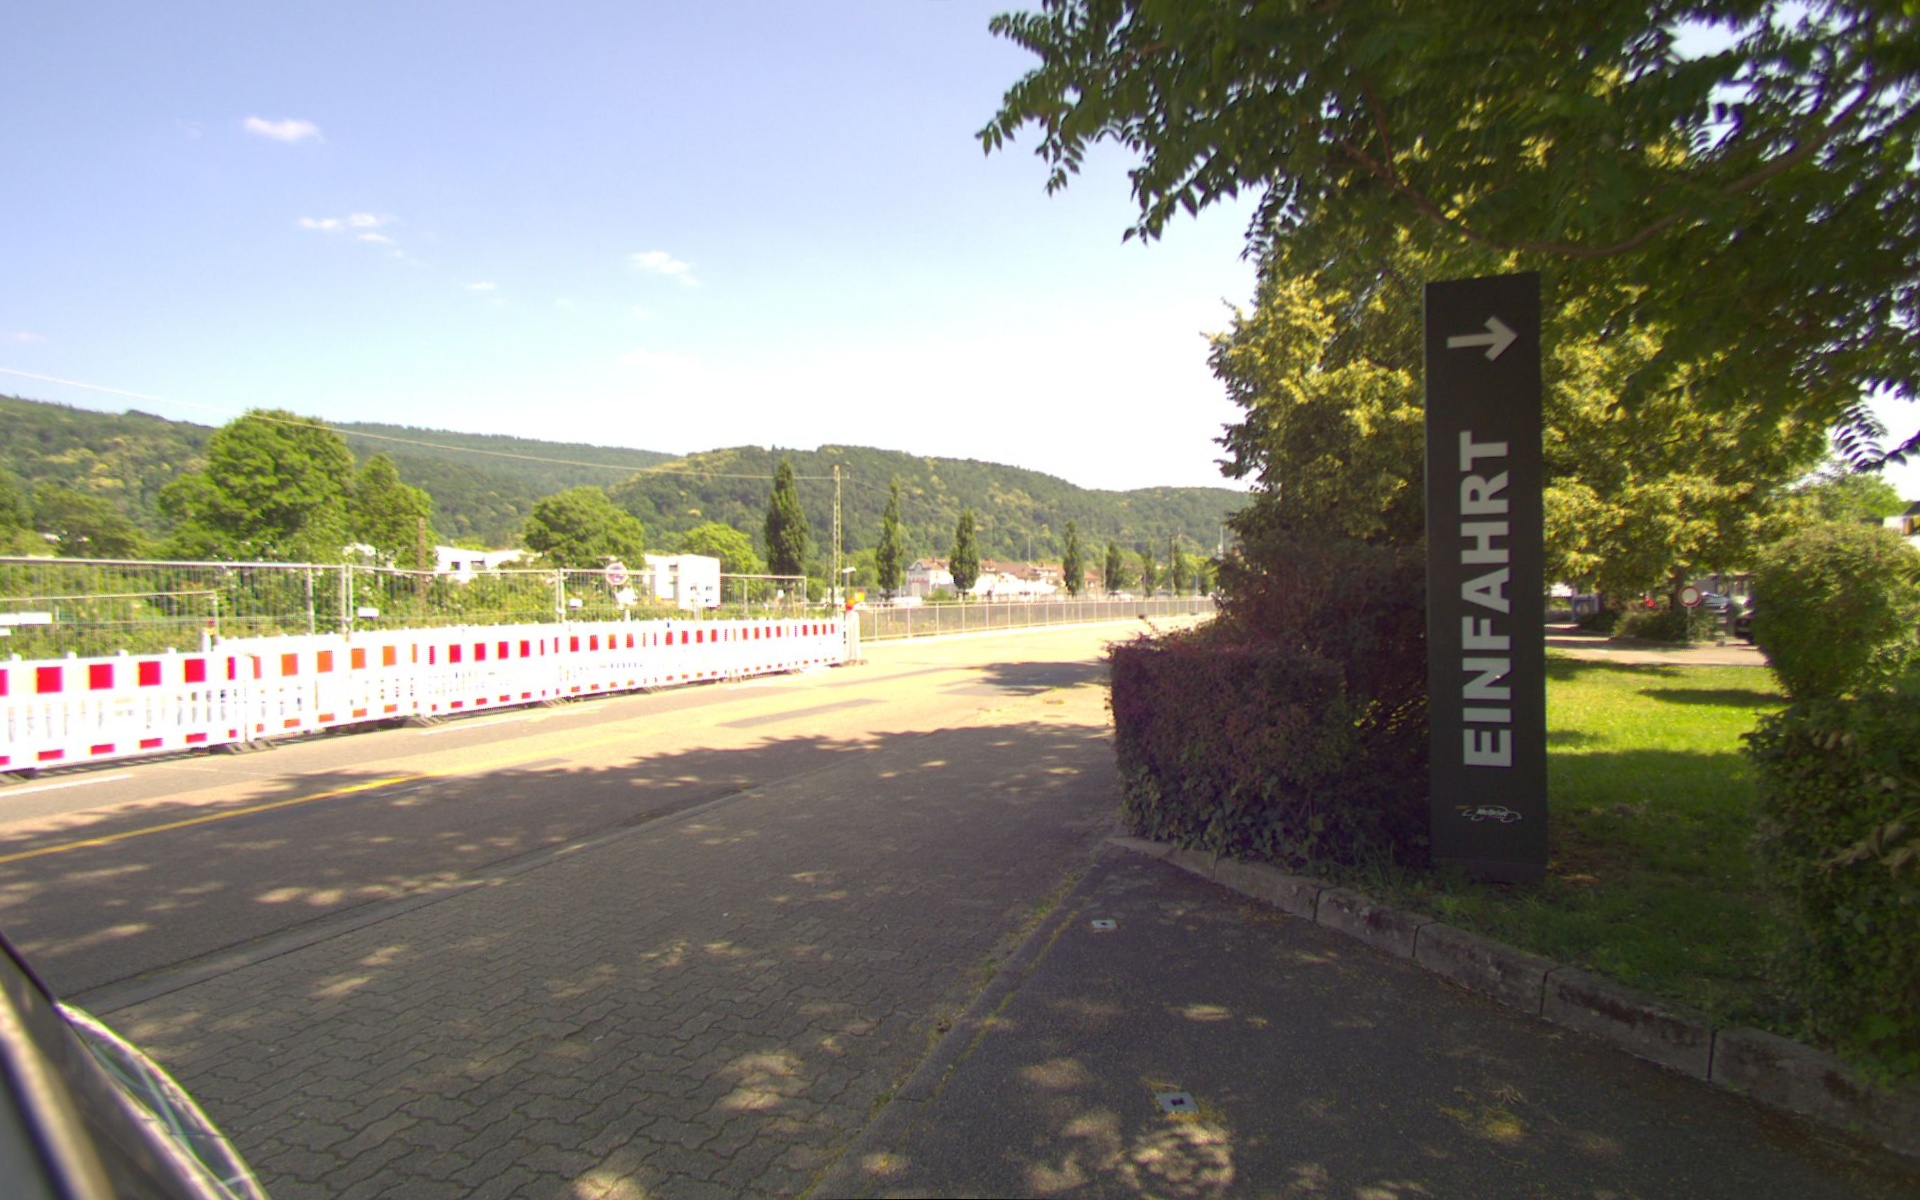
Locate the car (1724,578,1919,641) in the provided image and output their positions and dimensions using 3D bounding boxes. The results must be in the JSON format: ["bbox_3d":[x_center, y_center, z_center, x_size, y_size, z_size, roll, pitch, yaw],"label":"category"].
[{"bbox_3d":[24.825,0.269,28.986,4.262,1.698,1.858,-1,0,8],"label":"car"}]

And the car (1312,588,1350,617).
[{"bbox_3d":[27.897,0.167,76.036,2.171,1.983,5.398,-2,0,25],"label":"car"}]

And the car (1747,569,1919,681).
[{"bbox_3d":[15.463,0.380,17.407,1.849,1.698,4.336,1,1,22],"label":"car"}]

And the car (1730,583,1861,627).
[{"bbox_3d":[31.553,0.172,38.380,1.898,1.564,4.132,-1,0,8],"label":"car"}]

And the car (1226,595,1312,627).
[{"bbox_3d":[16.457,0.585,54.038,1.852,1.475,4.006,-2,-1,-41],"label":"car"}]
